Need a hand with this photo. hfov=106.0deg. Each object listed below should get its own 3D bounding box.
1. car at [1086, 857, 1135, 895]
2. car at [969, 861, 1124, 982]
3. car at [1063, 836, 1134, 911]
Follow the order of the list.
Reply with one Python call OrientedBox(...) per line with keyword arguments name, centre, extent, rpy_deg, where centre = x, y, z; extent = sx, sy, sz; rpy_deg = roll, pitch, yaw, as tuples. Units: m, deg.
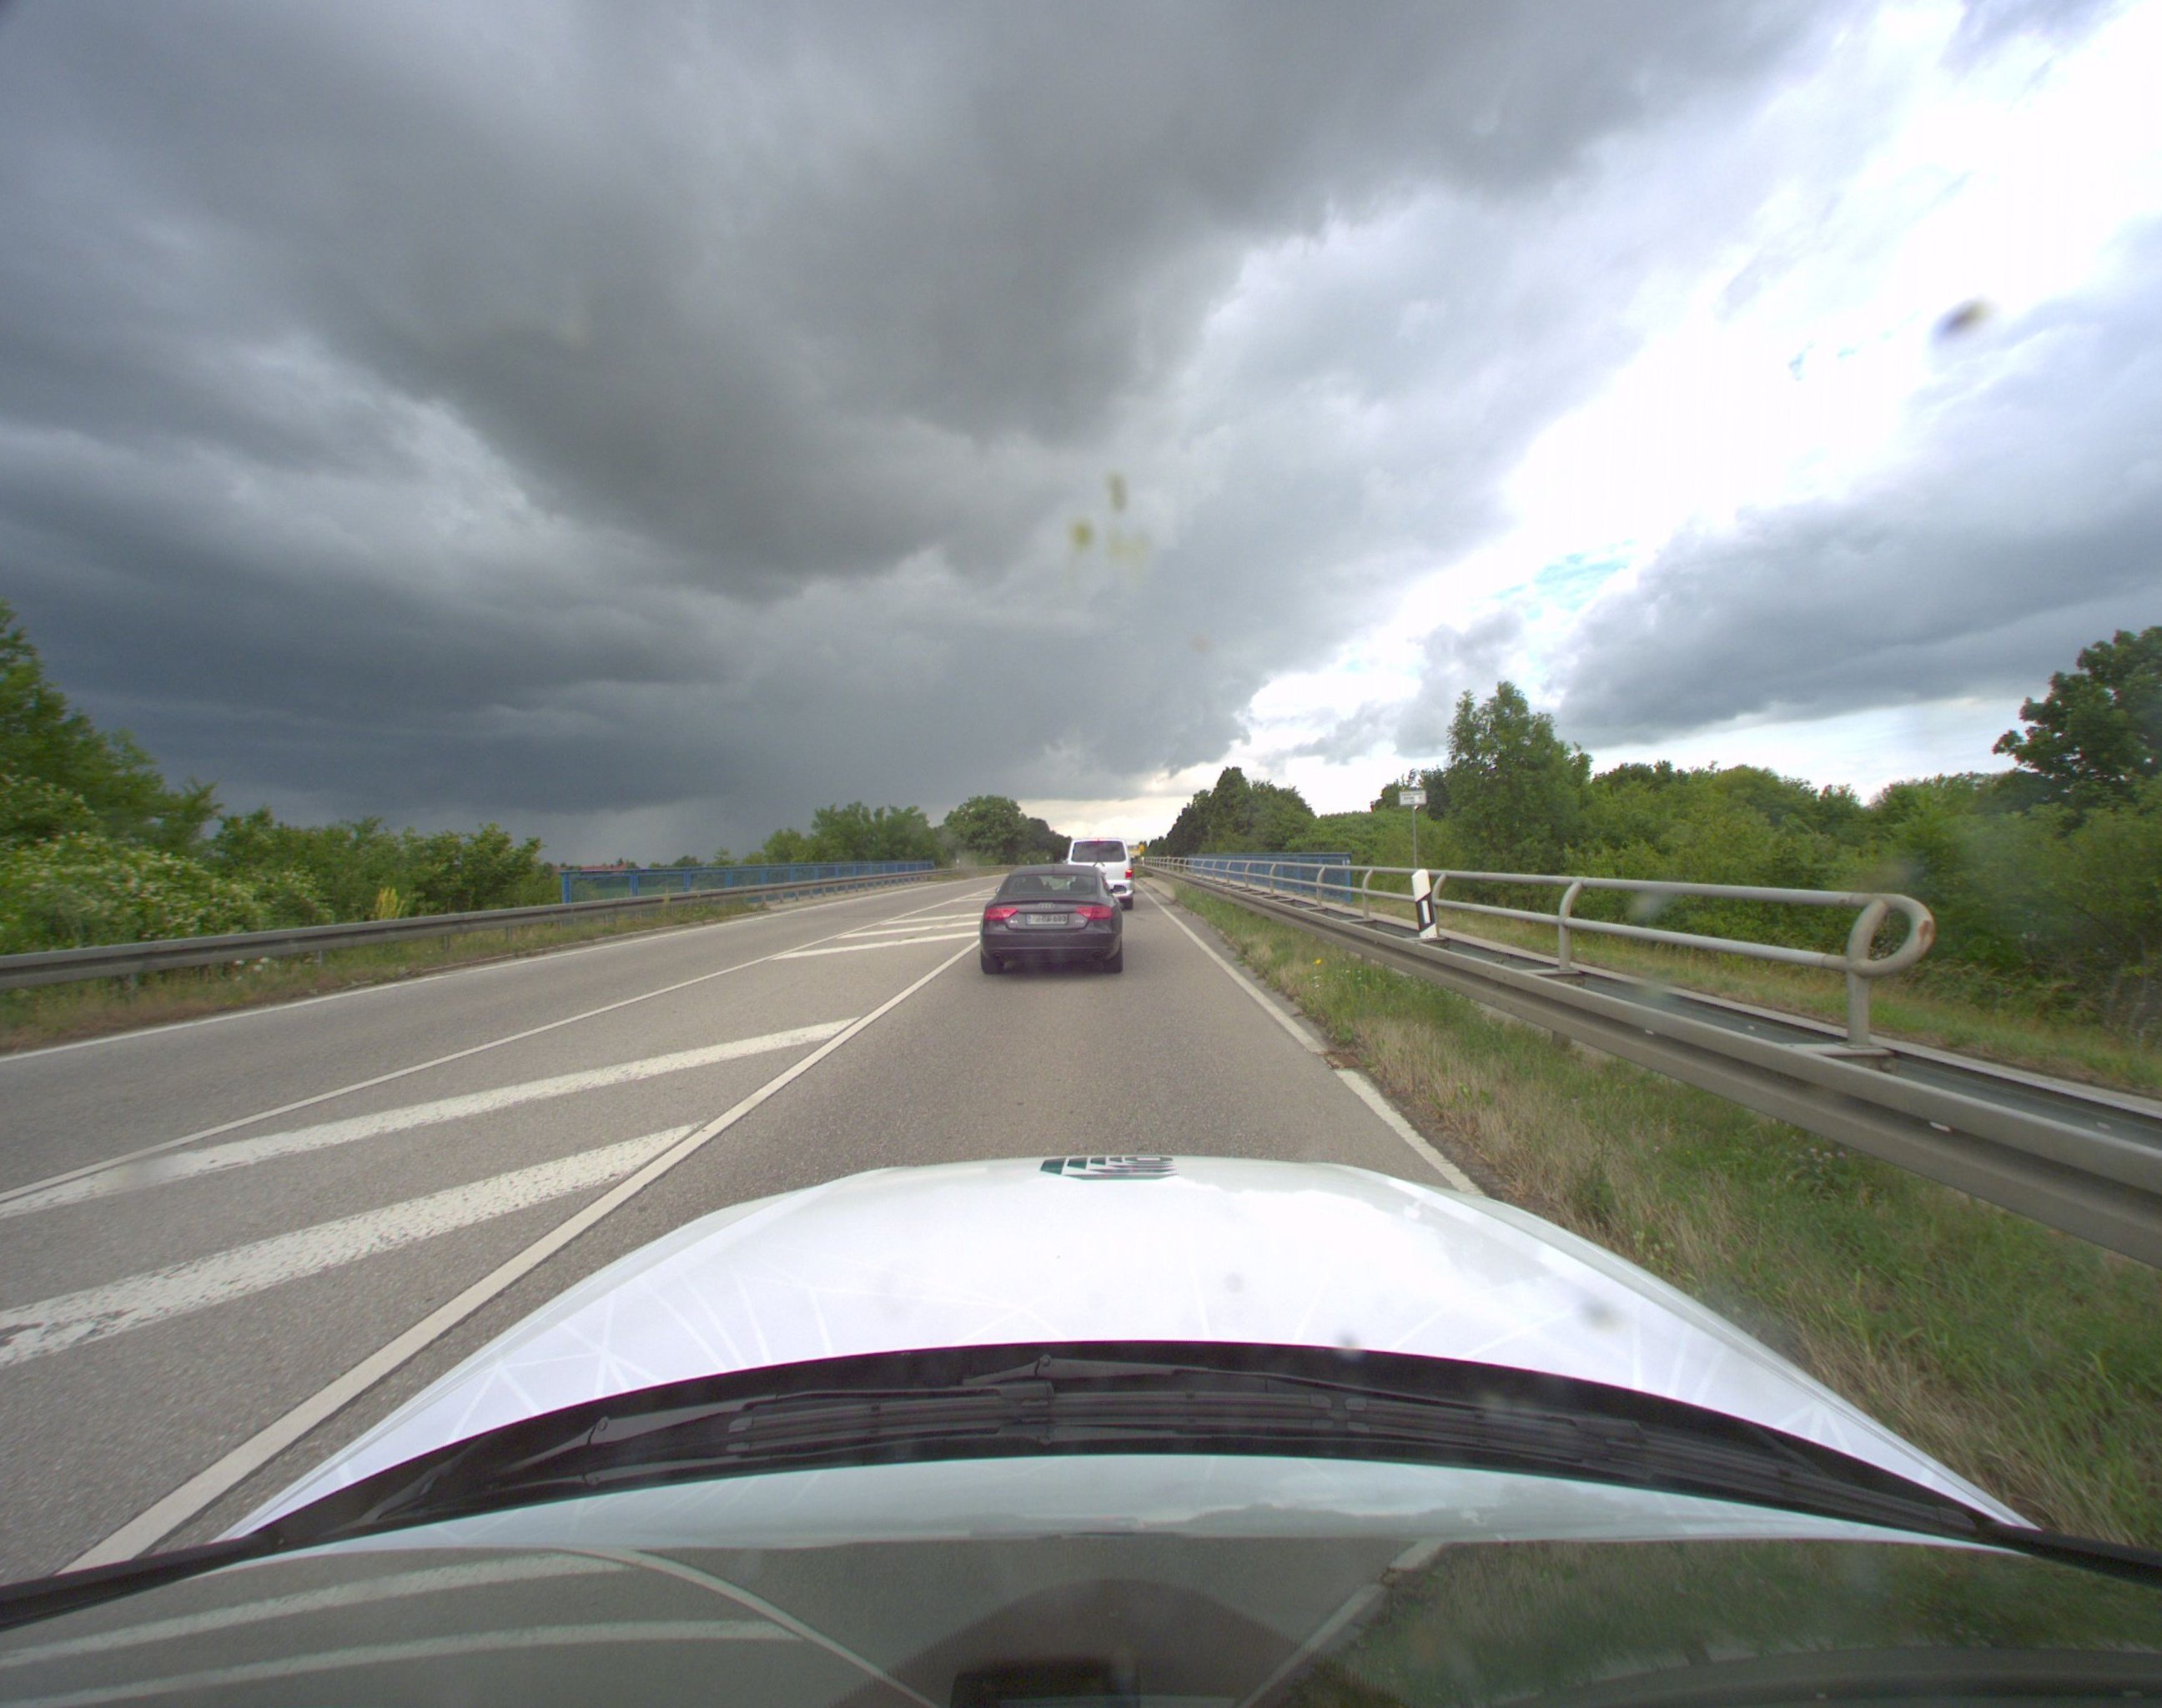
OrientedBox(name="car", centre=(1.195, 0.825, 32.507), extent=(1.814, 1.381, 4.074), rpy_deg=(-1, 0, 3))
OrientedBox(name="car", centre=(-0.309, 0.812, 11.639), extent=(1.814, 1.381, 4.074), rpy_deg=(-1, 0, 3))
OrientedBox(name="car", centre=(0.520, 0.524, 23.401), extent=(1.821, 1.935, 4.001), rpy_deg=(-2, 0, 2))
